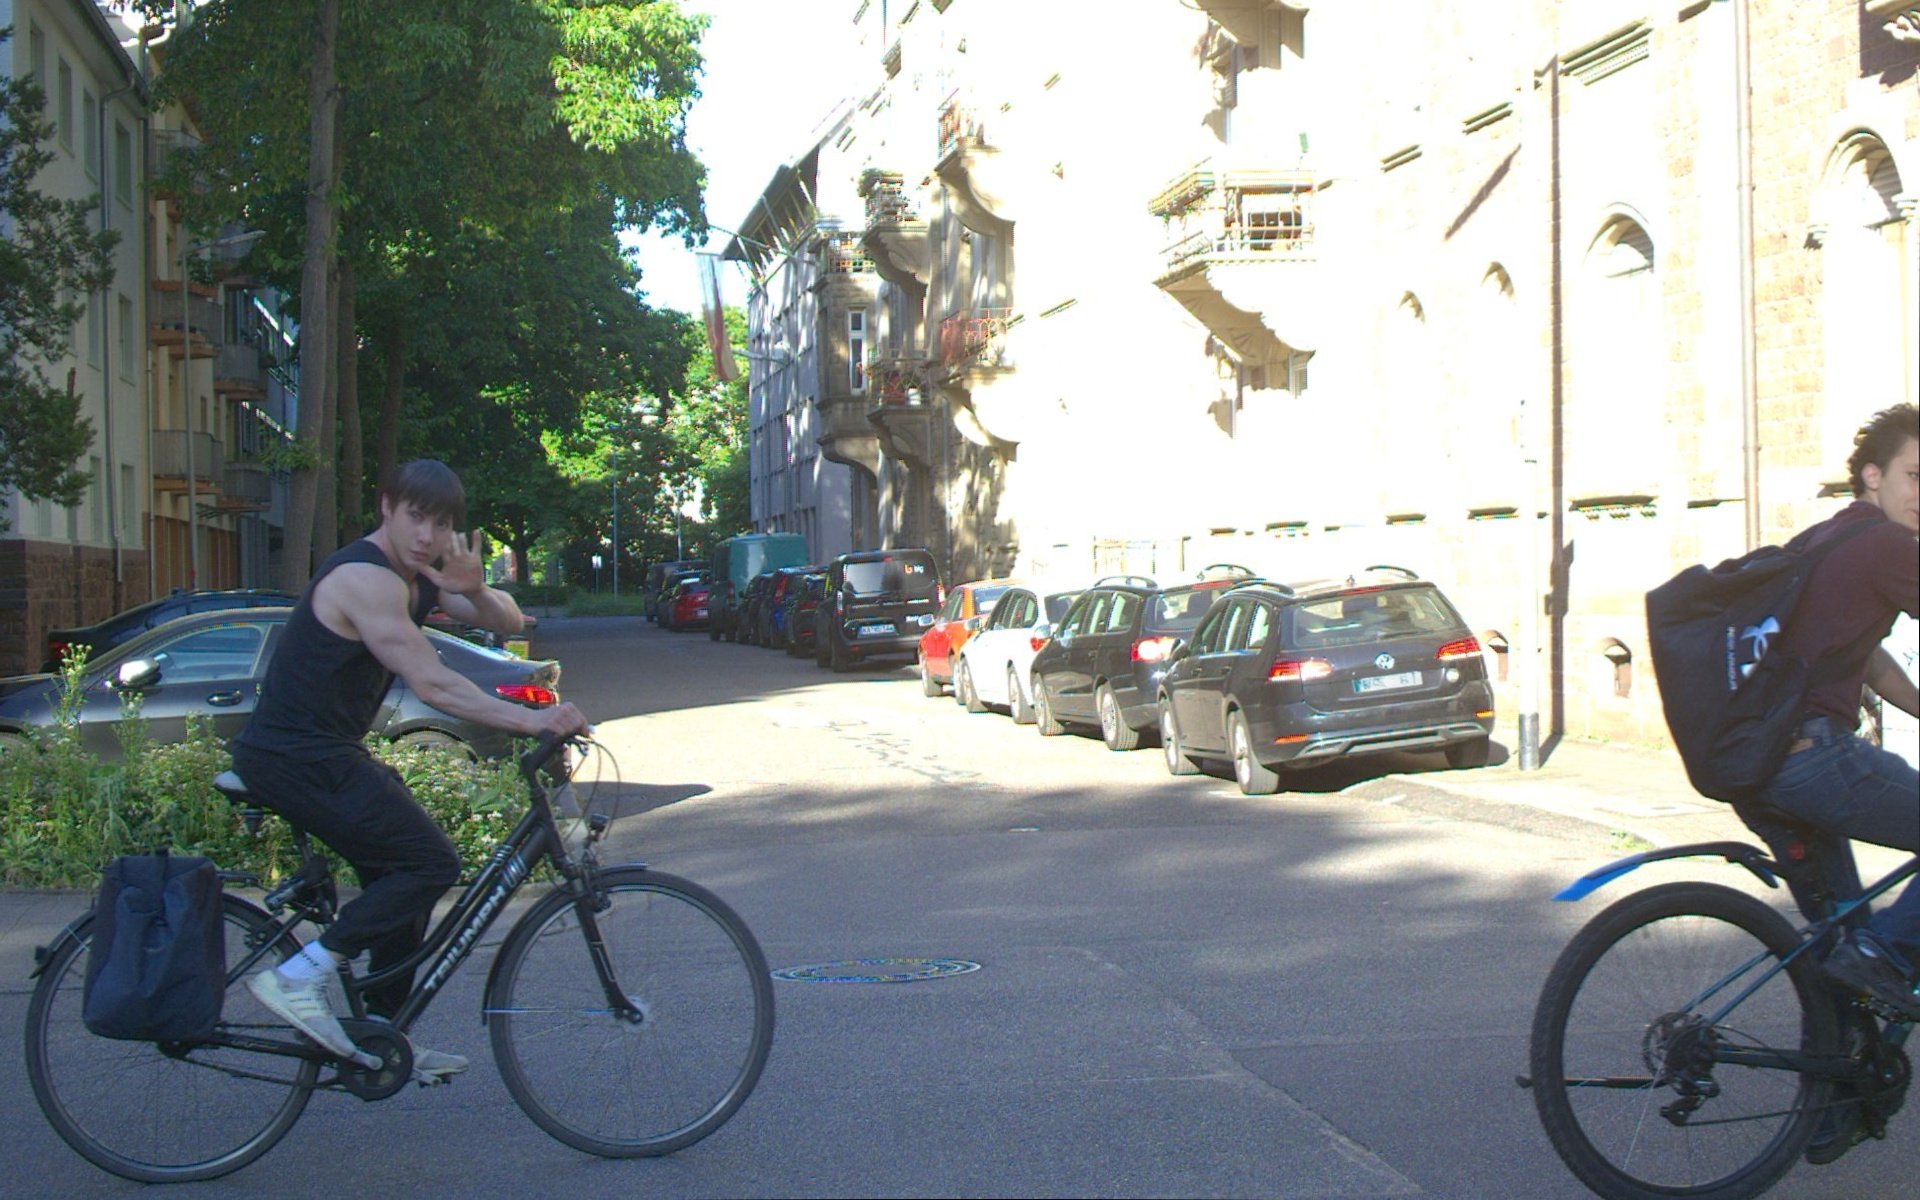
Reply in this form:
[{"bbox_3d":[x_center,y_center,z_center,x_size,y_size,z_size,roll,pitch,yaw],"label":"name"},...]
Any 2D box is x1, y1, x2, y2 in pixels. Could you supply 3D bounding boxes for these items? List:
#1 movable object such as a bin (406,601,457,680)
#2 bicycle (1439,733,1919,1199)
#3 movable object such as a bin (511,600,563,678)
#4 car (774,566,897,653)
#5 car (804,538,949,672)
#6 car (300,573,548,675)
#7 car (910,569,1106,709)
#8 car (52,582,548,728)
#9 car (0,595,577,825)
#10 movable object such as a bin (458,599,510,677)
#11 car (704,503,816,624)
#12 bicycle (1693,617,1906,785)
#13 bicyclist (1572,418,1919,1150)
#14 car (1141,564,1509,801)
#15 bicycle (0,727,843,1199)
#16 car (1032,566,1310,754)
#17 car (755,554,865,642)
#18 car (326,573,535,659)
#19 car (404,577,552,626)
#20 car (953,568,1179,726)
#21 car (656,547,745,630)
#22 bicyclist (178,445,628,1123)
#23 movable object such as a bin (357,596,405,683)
[{"bbox_3d":[-7.096,0.546,46.133,0.629,1.049,0.568,0,0,-13],"label":"movable object such as a bin"},{"bbox_3d":[2.105,0.854,7.651,1.962,1.069,0.557,0,3,-11],"label":"bicycle"},{"bbox_3d":[-5.718,0.526,46.440,0.629,1.049,0.568,0,0,-13],"label":"movable object such as a bin"},{"bbox_3d":[-2.270,0.150,61.589,1.802,1.509,4.001,0,0,-8],"label":"car"},{"bbox_3d":[-1.331,0.061,53.412,1.802,1.997,4.001,0,0,-8],"label":"car"},{"bbox_3d":[-8.481,0.368,54.294,3.800,1.570,1.710,0,0,-11],"label":"car"},{"bbox_3d":[0.512,0.427,40.811,1.737,1.576,4.001,0,0,-8],"label":"car"},{"bbox_3d":[-6.660,0.549,34.966,4.833,1.430,1.710,0,0,-9],"label":"car"},{"bbox_3d":[-4.720,0.695,22.759,4.242,1.430,2.000,0,0,-9],"label":"car"},{"bbox_3d":[-6.413,0.508,46.321,0.629,1.049,0.568,0,0,-13],"label":"movable object such as a bin"},{"bbox_3d":[-4.606,-0.825,78.538,2.165,2.681,4.792,0,0,-8],"label":"car"},{"bbox_3d":[5.255,0.614,21.599,0.514,0.994,1.576,0,0,-20],"label":"bicycle"},{"bbox_3d":[1.945,0.383,7.589,0.968,1.521,0.721,0,0,-11],"label":"bicyclist"},{"bbox_3d":[2.549,0.539,24.944,1.737,1.576,4.001,0,0,-8],"label":"car"},{"bbox_3d":[-1.317,0.858,8.213,1.961,1.069,0.698,0,0,-15],"label":"bicycle"},{"bbox_3d":[1.828,0.496,31.024,1.737,1.576,4.001,0,0,-8],"label":"car"},{"bbox_3d":[-3.007,-0.052,68.237,1.802,1.673,4.001,0,0,-8],"label":"car"},{"bbox_3d":[-9.906,0.301,64.245,3.800,1.570,1.710,0,0,-10],"label":"car"},{"bbox_3d":[-12.647,0.033,90.154,3.800,1.236,1.710,0,0,-10],"label":"car"},{"bbox_3d":[1.057,0.458,36.326,1.737,1.576,4.001,0,0,-8],"label":"car"},{"bbox_3d":[-7.239,-0.332,95.492,2.165,2.229,4.792,0,0,-8],"label":"car"},{"bbox_3d":[-1.341,0.413,8.189,0.968,1.521,0.708,0,0,-16],"label":"bicyclist"},{"bbox_3d":[-7.751,0.528,46.041,0.598,1.149,0.487,0,0,-13],"label":"movable object such as a bin"}]
